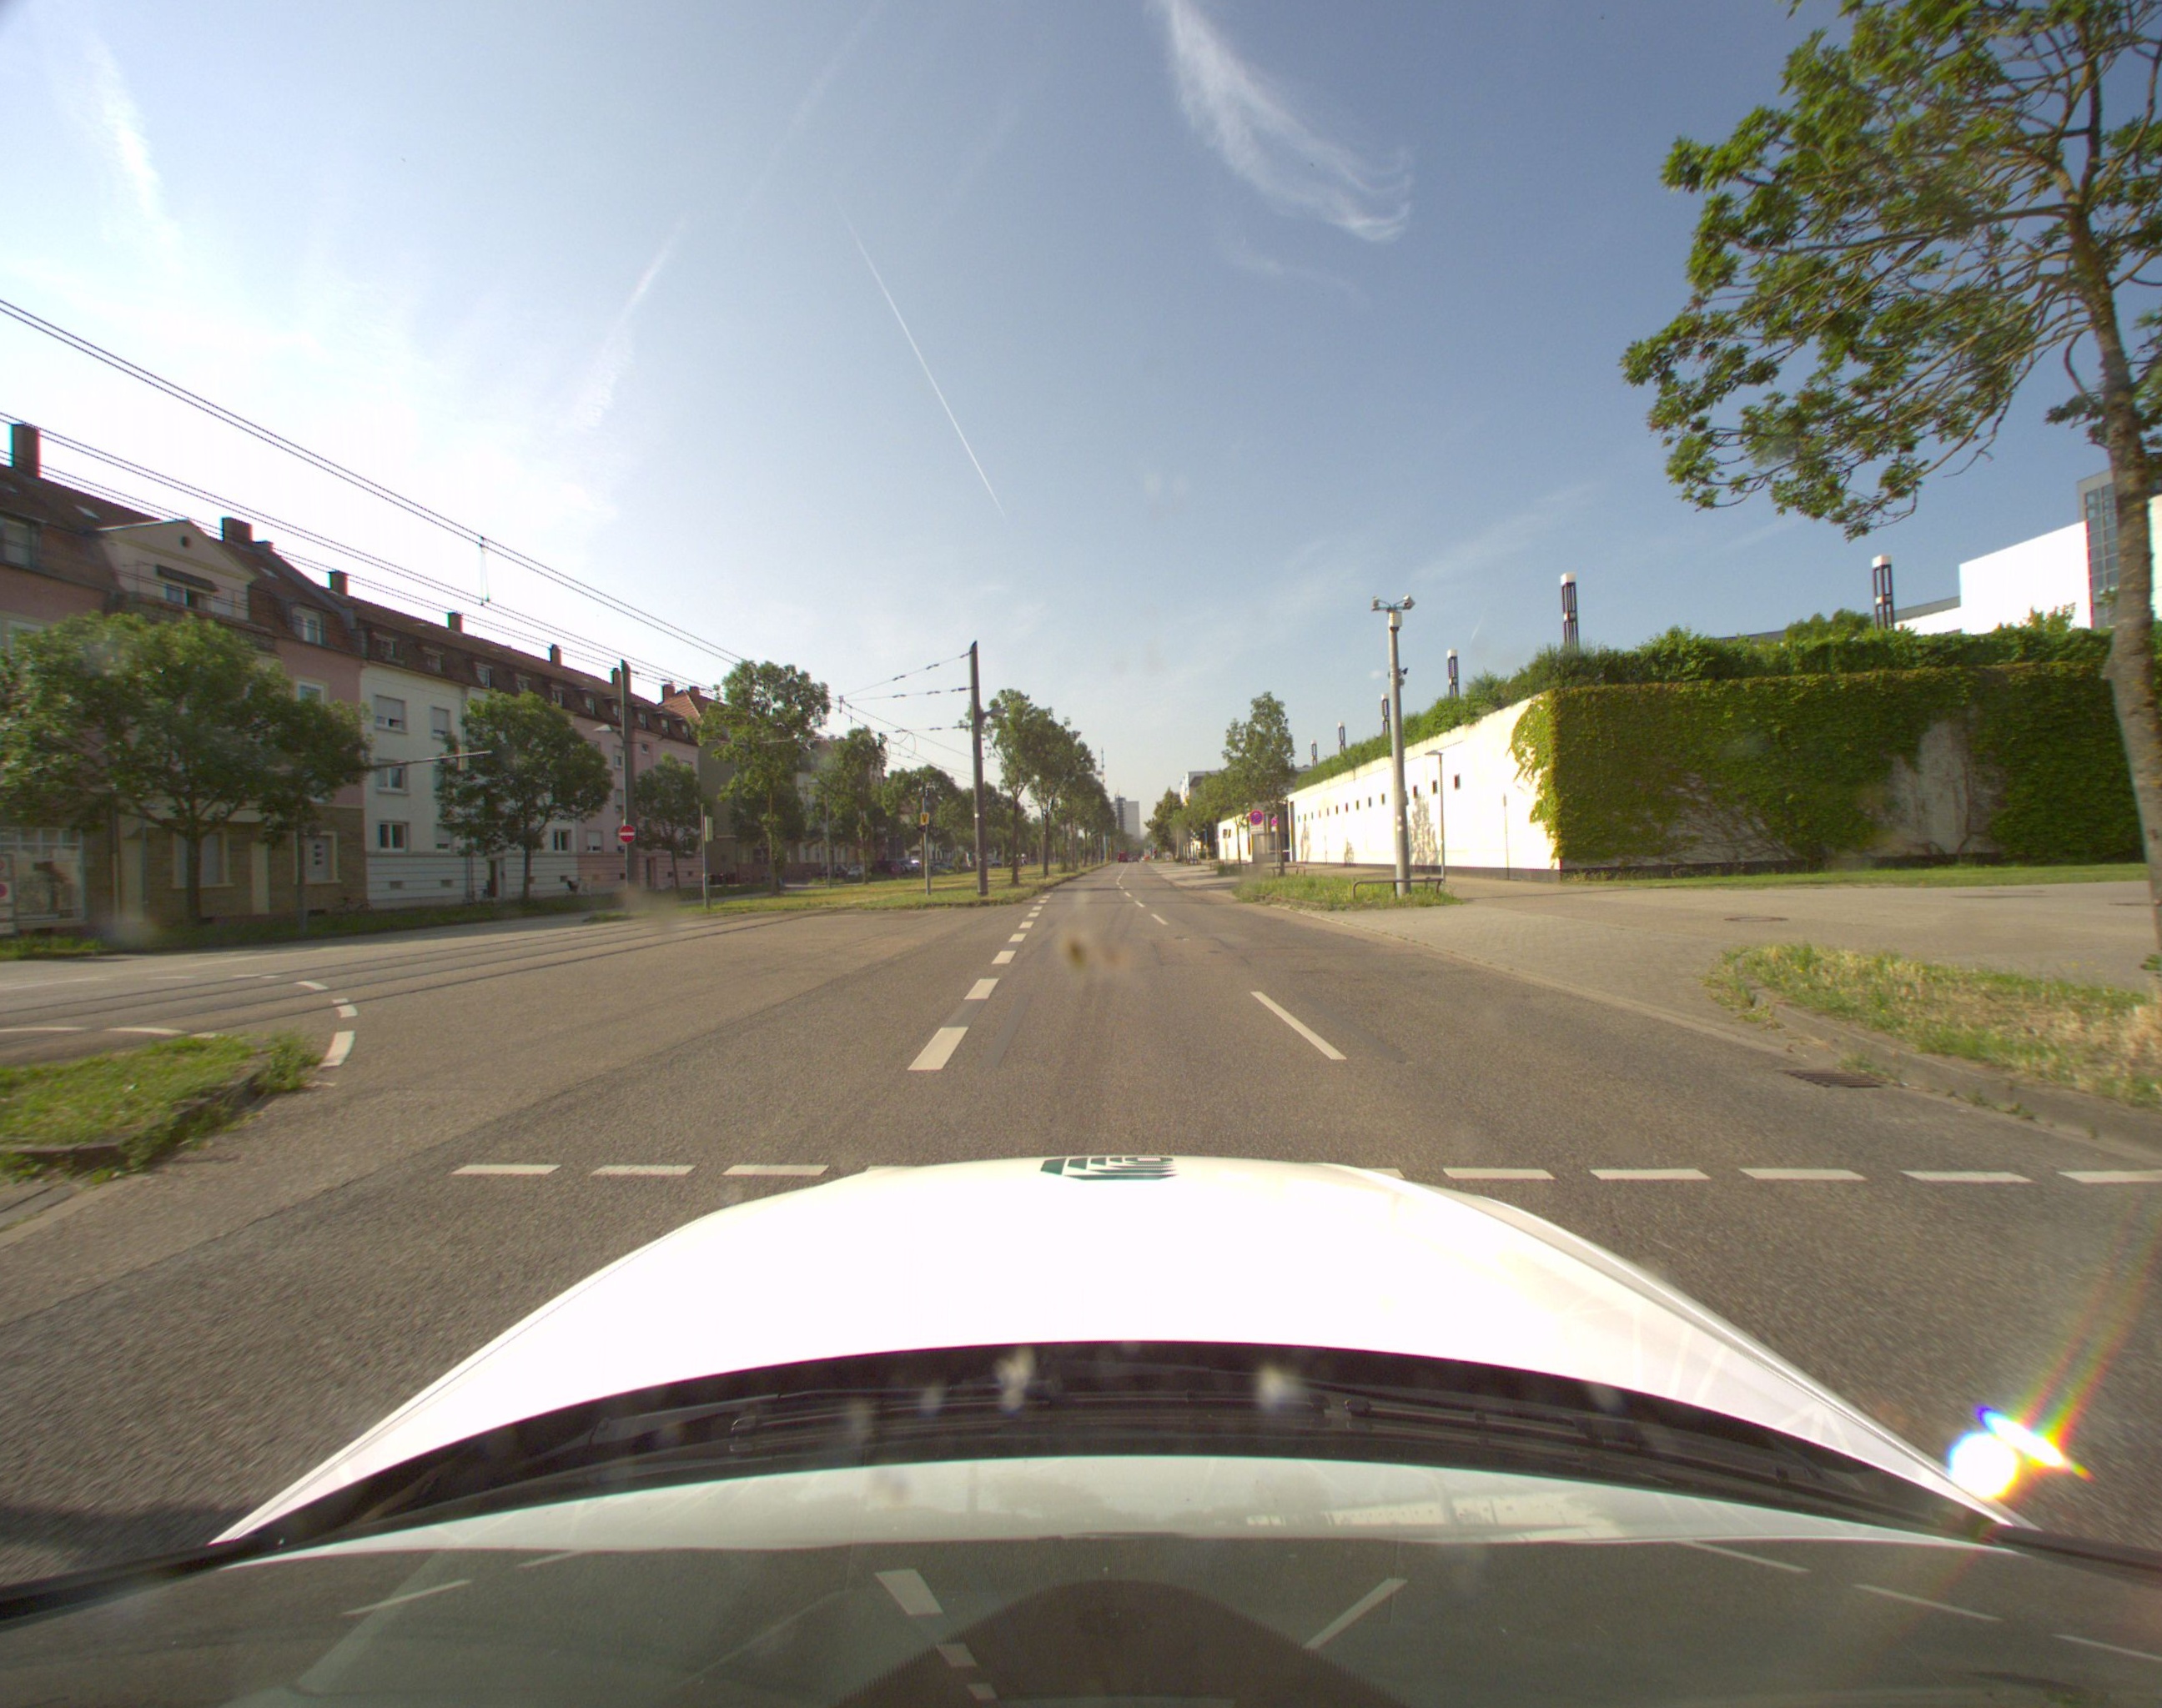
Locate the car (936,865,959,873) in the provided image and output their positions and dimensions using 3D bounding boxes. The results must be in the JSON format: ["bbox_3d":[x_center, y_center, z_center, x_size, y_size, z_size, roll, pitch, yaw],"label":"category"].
[{"bbox_3d":[-19.368,2.233,118.312,3.123,1.161,1.506,-1,-1,36],"label":"car"}]

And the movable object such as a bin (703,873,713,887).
[{"bbox_3d":[-34.215,2.369,74.696,0.583,1.211,0.641,0,-1,2],"label":"movable object such as a bin"}]

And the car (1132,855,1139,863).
[{"bbox_3d":[14.445,1.385,214.210,1.740,2.014,3.219,0,-1,5],"label":"car"}]

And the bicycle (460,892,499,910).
[{"bbox_3d":[-29.865,2.310,40.451,0.435,0.789,1.948,0,-1,2],"label":"bicycle"}]

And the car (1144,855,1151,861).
[{"bbox_3d":[17.866,1.008,218.354,1.740,1.650,3.219,0,-1,5],"label":"car"}]

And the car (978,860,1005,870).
[{"bbox_3d":[-17.344,2.116,157.404,5.258,1.738,2.013,-1,-1,37],"label":"car"}]

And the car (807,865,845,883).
[{"bbox_3d":[-24.775,1.959,79.326,1.986,1.628,4.777,0,0,2],"label":"car"}]

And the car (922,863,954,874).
[{"bbox_3d":[-19.653,1.971,111.913,3.953,1.417,1.585,0,-1,20],"label":"car"}]

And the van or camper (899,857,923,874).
[{"bbox_3d":[-26.060,1.823,125.139,2.030,2.567,6.362,0,-1,3],"label":"van or camper"}]

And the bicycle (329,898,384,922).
[{"bbox_3d":[-30.205,2.304,33.978,0.466,0.889,1.948,0,-1,2],"label":"bicycle"}]

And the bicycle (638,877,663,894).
[{"bbox_3d":[-28.836,2.111,54.570,0.601,1.128,1.948,0,-1,2],"label":"bicycle"}]

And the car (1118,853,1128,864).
[{"bbox_3d":[8.015,0.855,154.293,1.740,2.014,3.219,0,-1,5],"label":"car"}]

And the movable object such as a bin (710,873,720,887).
[{"bbox_3d":[-33.557,2.369,74.686,0.583,1.211,0.641,0,-1,2],"label":"movable object such as a bin"}]

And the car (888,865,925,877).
[{"bbox_3d":[-21.107,2.062,98.364,4.419,1.419,1.988,0,-1,36],"label":"car"}]

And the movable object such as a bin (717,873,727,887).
[{"bbox_3d":[-32.933,2.368,74.644,0.583,1.211,0.641,0,-1,2],"label":"movable object such as a bin"}]

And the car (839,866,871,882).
[{"bbox_3d":[-23.846,2.080,86.051,1.880,1.628,4.163,0,0,6],"label":"car"}]

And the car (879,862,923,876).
[{"bbox_3d":[-21.123,1.753,95.557,5.154,1.623,2.070,0,-1,34],"label":"car"}]

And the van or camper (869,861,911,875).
[{"bbox_3d":[-21.853,1.585,93.005,4.787,1.623,2.015,-1,-1,36],"label":"van or camper"}]

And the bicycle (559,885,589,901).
[{"bbox_3d":[-29.386,2.249,47.194,0.445,0.857,1.948,0,-1,2],"label":"bicycle"}]

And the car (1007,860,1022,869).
[{"bbox_3d":[-12.302,1.964,151.668,1.954,1.694,4.306,0,-1,7],"label":"car"}]

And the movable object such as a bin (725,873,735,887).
[{"bbox_3d":[-32.195,2.369,74.709,0.583,1.211,0.641,0,-1,2],"label":"movable object such as a bin"}]
